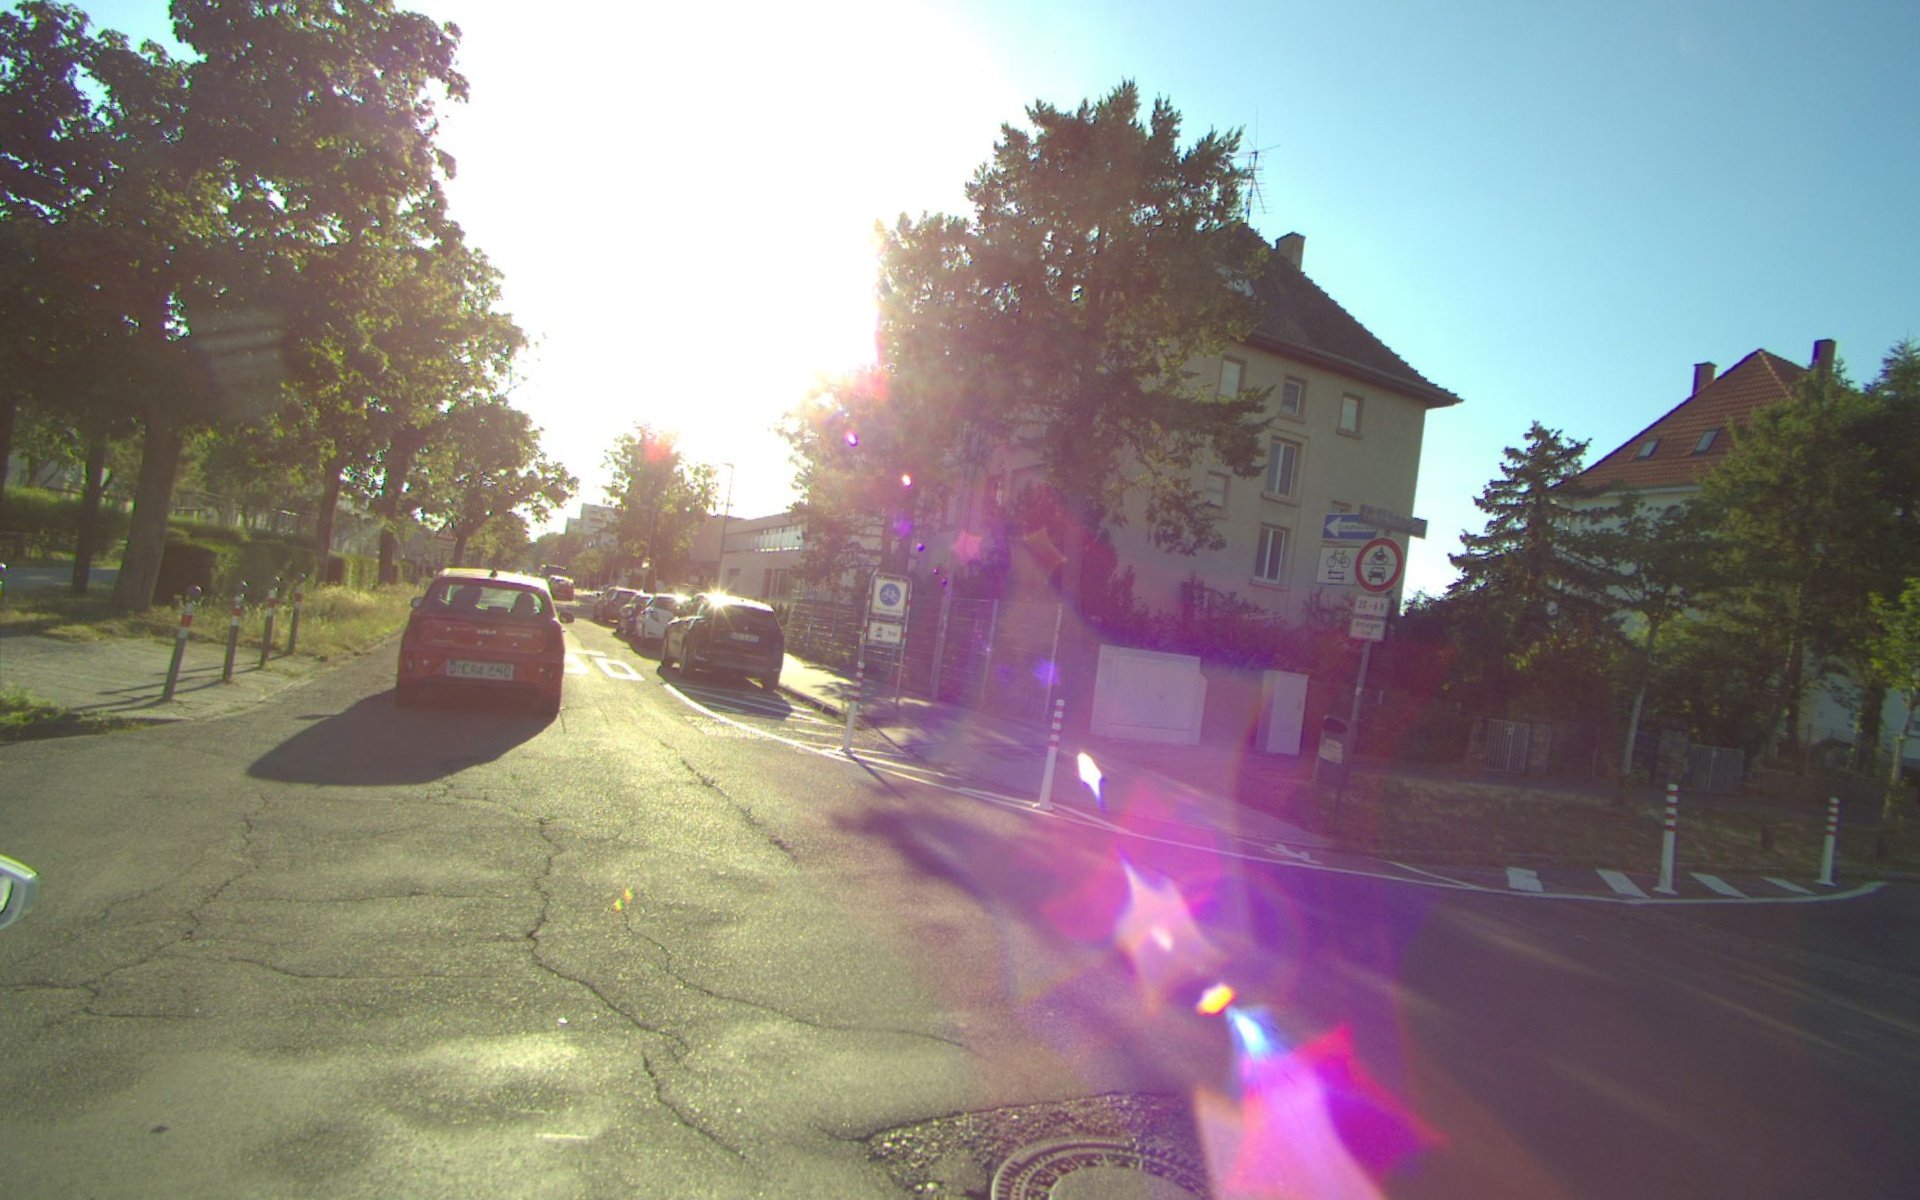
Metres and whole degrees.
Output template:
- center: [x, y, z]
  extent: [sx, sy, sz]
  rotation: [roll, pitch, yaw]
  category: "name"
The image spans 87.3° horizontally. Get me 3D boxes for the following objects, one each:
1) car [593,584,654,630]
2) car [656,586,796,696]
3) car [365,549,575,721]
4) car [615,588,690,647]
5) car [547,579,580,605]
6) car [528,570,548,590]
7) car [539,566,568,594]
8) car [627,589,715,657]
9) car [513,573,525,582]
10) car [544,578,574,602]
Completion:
- center: [-13.676, 0.266, 40.753]
  extent: [1.749, 1.544, 3.750]
  rotation: [7, -1, -26]
  category: "car"
- center: [-4.691, 0.721, 19.709]
  extent: [1.801, 1.659, 4.196]
  rotation: [11, -3, -22]
  category: "car"
- center: [-5.606, 0.344, 11.794]
  extent: [1.748, 1.544, 3.753]
  rotation: [7, -1, -23]
  category: "car"
- center: [-9.932, 0.508, 32.298]
  extent: [1.714, 1.535, 3.739]
  rotation: [8, -2, -24]
  category: "car"
- center: [-28.472, -0.589, 72.198]
  extent: [1.742, 1.536, 3.737]
  rotation: [8, -2, -26]
  category: "car"
- center: [-51.294, -2.434, 122.261]
  extent: [1.975, 2.148, 3.979]
  rotation: [8, -2, -23]
  category: "car"
- center: [-35.645, -1.783, 88.169]
  extent: [1.975, 2.148, 3.979]
  rotation: [8, -2, -23]
  category: "car"
- center: [-8.060, 0.589, 27.877]
  extent: [1.748, 1.544, 3.753]
  rotation: [7, -1, -23]
  category: "car"
- center: [-89.984, -4.585, 205.258]
  extent: [1.849, 1.636, 3.977]
  rotation: [8, -2, -25]
  category: "car"
- center: [-30.371, -0.782, 76.120]
  extent: [1.715, 1.536, 3.737]
  rotation: [8, -2, -26]
  category: "car"
